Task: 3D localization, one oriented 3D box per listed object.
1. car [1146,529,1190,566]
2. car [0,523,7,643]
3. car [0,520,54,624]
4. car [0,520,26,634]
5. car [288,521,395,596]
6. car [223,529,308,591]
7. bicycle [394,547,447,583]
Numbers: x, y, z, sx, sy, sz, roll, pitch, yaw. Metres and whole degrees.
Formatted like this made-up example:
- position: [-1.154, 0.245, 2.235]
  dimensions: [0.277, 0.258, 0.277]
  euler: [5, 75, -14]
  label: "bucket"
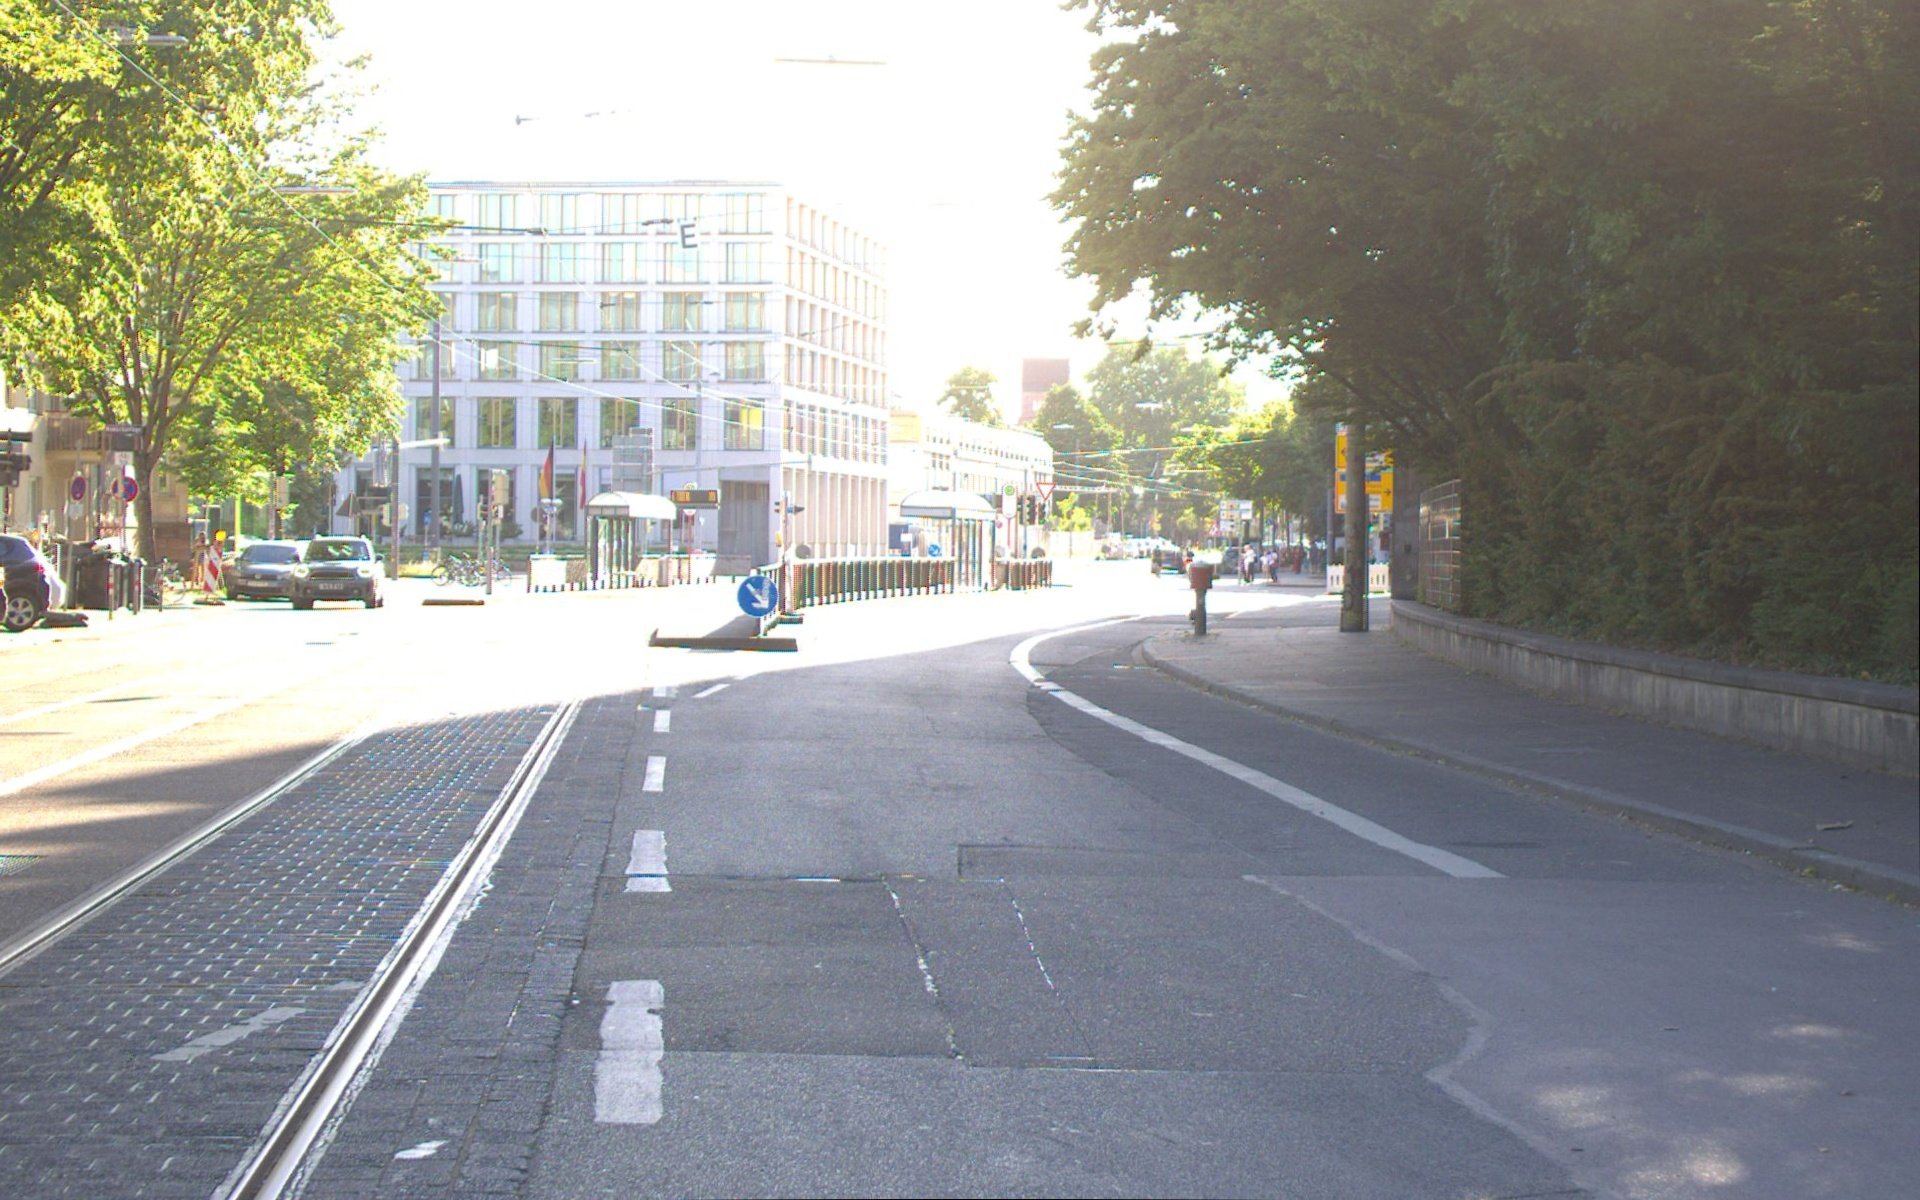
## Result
- position: [11.603, -2.925, 191.637]
  dimensions: [1.994, 2.007, 3.999]
  euler: [1, 2, 10]
  label: "car"
- position: [-14.373, -0.236, 45.293]
  dimensions: [3.271, 1.579, 1.470]
  euler: [0, 1, -26]
  label: "car"
- position: [-15.679, -0.443, 52.612]
  dimensions: [3.271, 1.579, 1.470]
  euler: [0, 1, -26]
  label: "car"
- position: [-14.824, -0.333, 47.880]
  dimensions: [3.271, 1.579, 1.470]
  euler: [0, 1, -26]
  label: "car"
- position: [-13.103, -0.897, 73.030]
  dimensions: [1.558, 1.525, 4.000]
  euler: [1, 1, 0]
  label: "car"
- position: [-17.202, -1.012, 85.268]
  dimensions: [1.572, 1.485, 4.001]
  euler: [0, 1, -4]
  label: "car"
- position: [-18.720, -1.208, 119.312]
  dimensions: [1.793, 1.219, 0.599]
  euler: [0, 1, -13]
  label: "bicycle"
